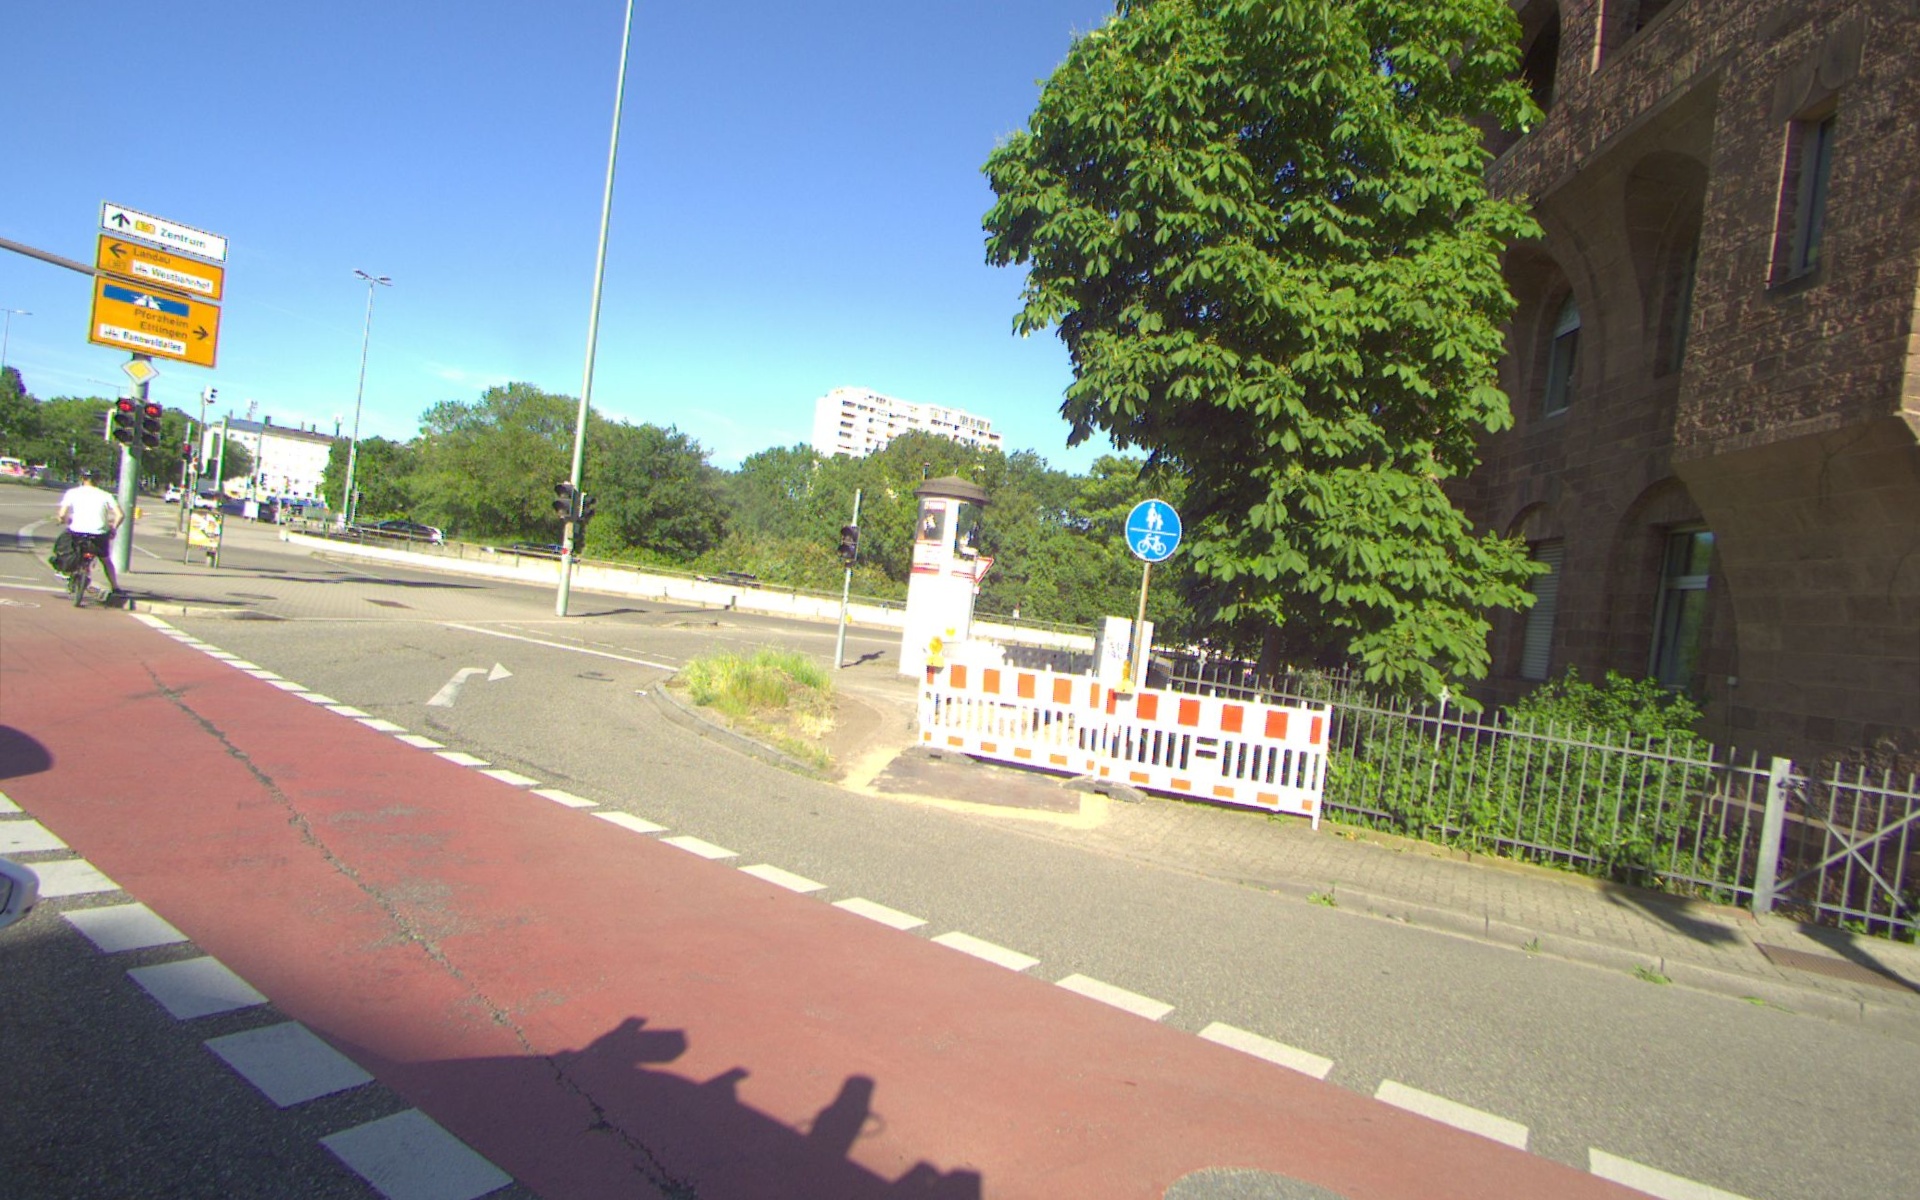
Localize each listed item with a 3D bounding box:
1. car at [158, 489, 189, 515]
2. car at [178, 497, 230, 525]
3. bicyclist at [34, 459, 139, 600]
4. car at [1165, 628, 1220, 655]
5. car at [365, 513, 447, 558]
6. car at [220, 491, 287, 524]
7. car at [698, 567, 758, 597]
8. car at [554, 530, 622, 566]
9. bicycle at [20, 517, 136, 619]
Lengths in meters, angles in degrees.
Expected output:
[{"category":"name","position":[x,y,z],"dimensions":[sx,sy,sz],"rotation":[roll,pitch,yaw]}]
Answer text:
[{"category":"car","position":[-67.778,-8.412,86.738],"dimensions":[1.984,1.770,3.960],"rotation":[7,-2,-38]},{"category":"car","position":[-57.850,-6.787,76.971],"dimensions":[3.939,1.770,1.995],"rotation":[5,-2,36]},{"category":"bicyclist","position":[-11.779,-0.947,13.604],"dimensions":[0.795,1.726,1.074],"rotation":[8,1,-35]},{"category":"car","position":[18.999,3.397,82.085],"dimensions":[3.946,1.638,1.719],"rotation":[8,1,-22]},{"category":"car","position":[-33.570,-3.887,61.085],"dimensions":[3.943,2.037,1.992],"rotation":[7,-2,-20]},{"category":"car","position":[-51.016,-6.679,72.599],"dimensions":[4.804,1.876,2.017],"rotation":[5,-2,30]},{"category":"car","position":[-17.148,-1.332,74.296],"dimensions":[3.945,1.638,1.719],"rotation":[8,1,-21]},{"category":"car","position":[-26.012,-3.598,70.455],"dimensions":[4.197,1.876,2.013],"rotation":[7,-2,-18]},{"category":"bicycle","position":[-11.792,-0.463,13.531],"dimensions":[0.795,1.124,2.378],"rotation":[8,0,-35]}]
